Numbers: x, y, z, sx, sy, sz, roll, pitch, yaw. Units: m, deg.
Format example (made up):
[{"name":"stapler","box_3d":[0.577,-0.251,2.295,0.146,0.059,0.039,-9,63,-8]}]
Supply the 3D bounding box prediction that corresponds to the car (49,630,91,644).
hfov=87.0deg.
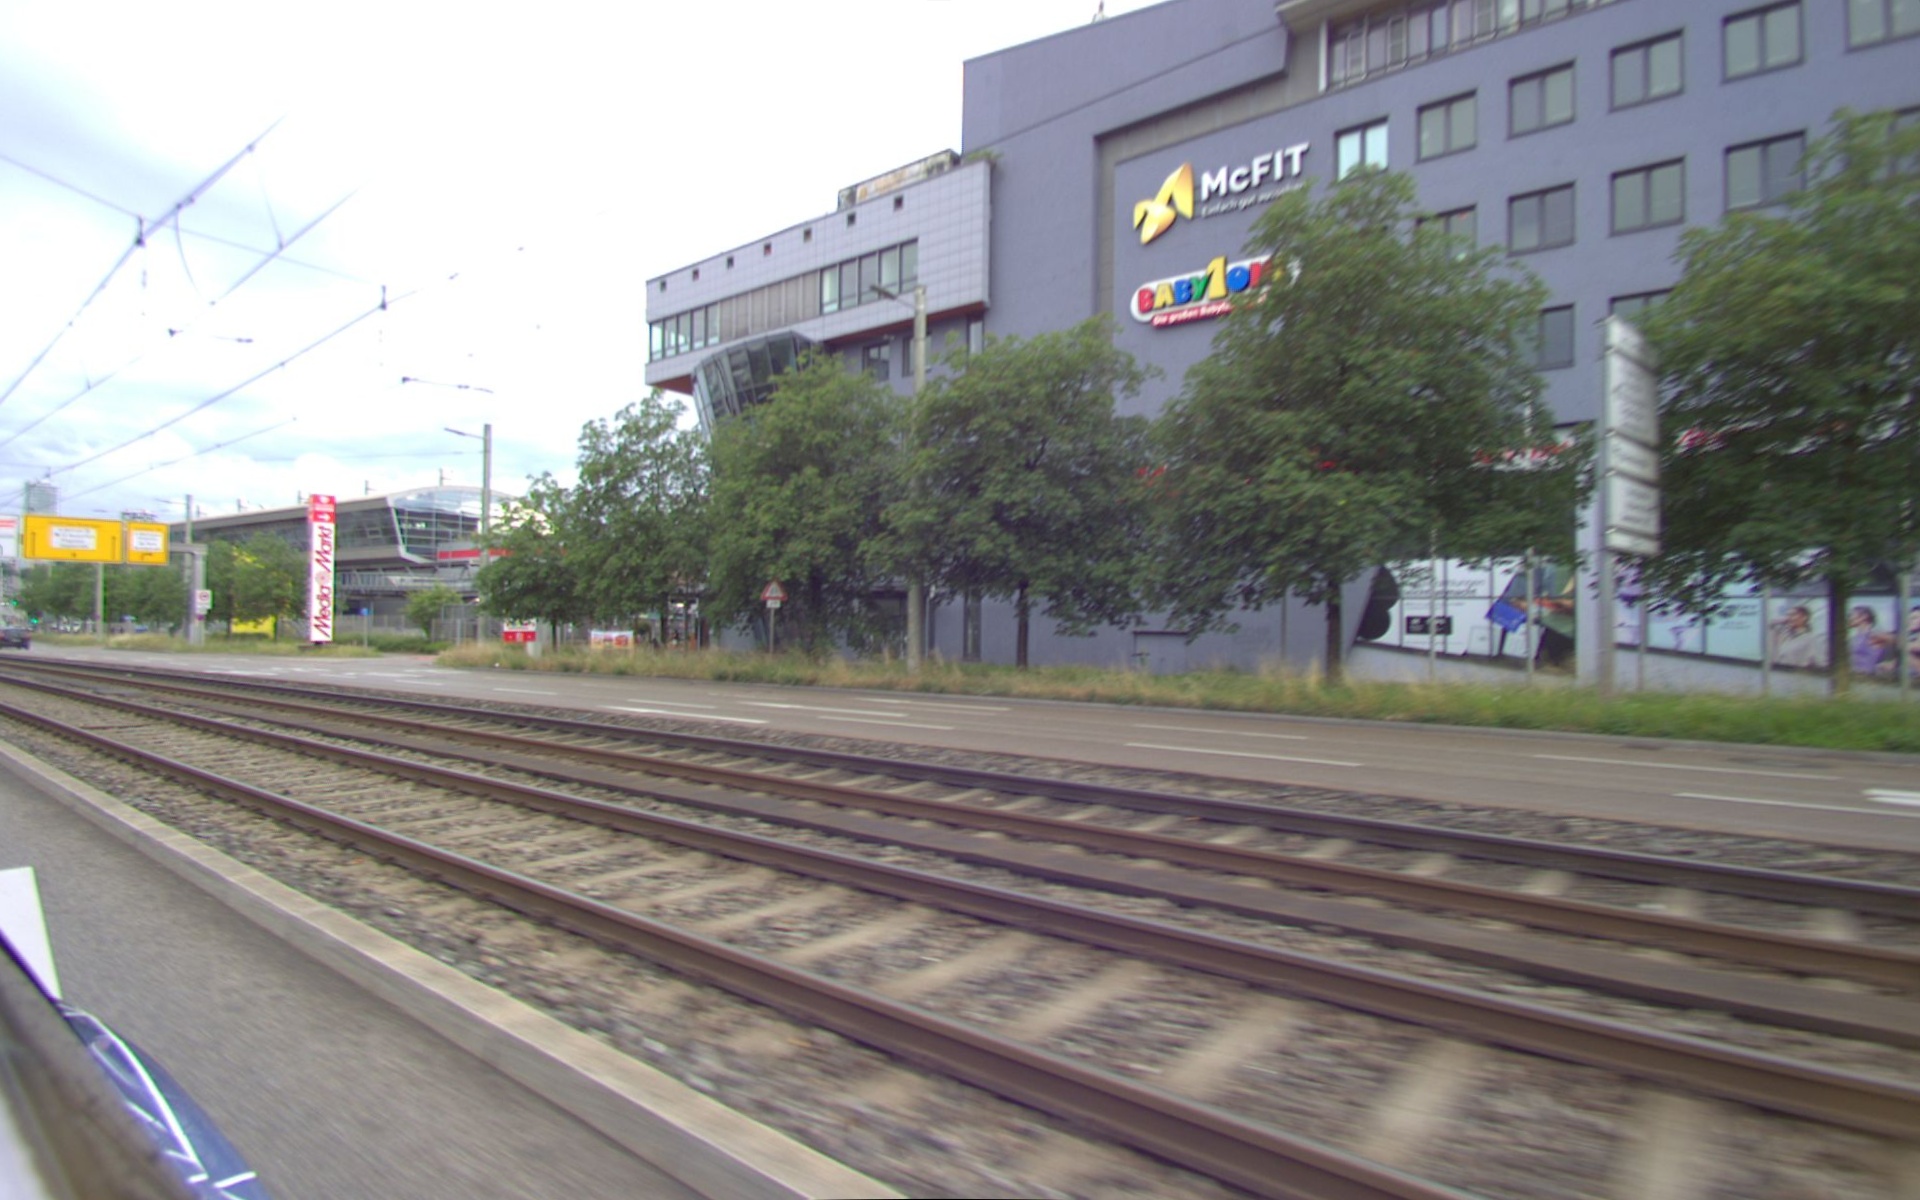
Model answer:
[{"name":"car","box_3d":[-152.162,6.371,173.136,1.987,2.350,5.025,-1,-3,22]}]

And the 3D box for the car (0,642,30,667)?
[{"name":"car","box_3d":[-70.255,4.049,74.540,4.207,1.749,1.974,-4,-6,39]}]

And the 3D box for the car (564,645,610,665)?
[{"name":"car","box_3d":[-30.293,4.467,82.215,1.645,1.292,4.095,-2,0,10]}]

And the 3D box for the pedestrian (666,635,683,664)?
[{"name":"pedestrian","box_3d":[-16.794,2.916,59.572,0.579,1.692,0.802,-1,-3,29]}]
